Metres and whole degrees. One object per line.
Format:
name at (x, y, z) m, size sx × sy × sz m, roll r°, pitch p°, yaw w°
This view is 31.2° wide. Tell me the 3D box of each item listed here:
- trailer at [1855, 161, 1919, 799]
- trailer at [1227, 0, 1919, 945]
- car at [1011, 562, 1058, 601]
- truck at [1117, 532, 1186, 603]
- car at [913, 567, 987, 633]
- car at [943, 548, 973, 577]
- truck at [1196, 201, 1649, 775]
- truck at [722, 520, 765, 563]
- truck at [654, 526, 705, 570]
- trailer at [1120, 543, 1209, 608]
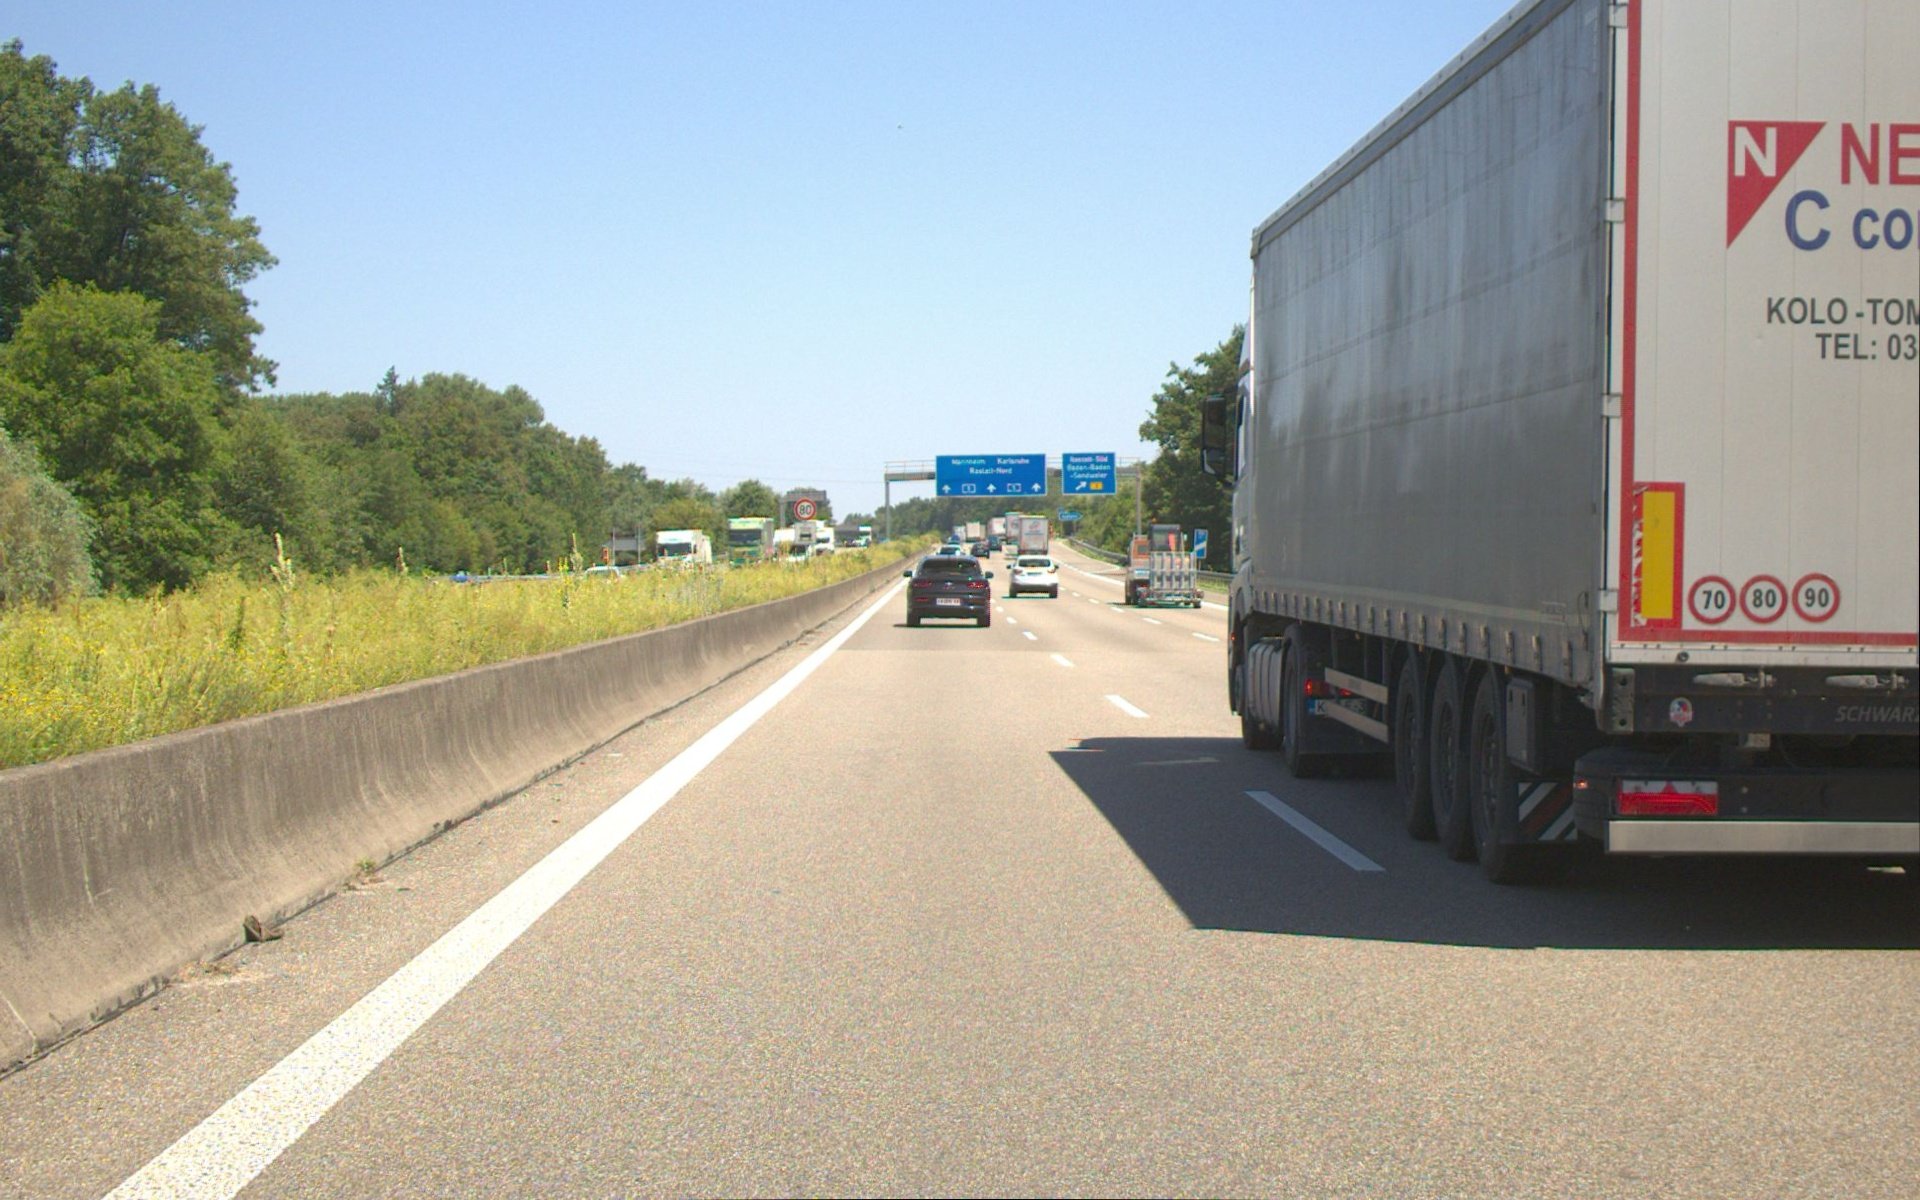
trailer at (7.553, -0.771, 19.008) m, size 2.316 × 4.226 × 10.655 m, roll 0°, pitch 0°, yaw -1°
trailer at (3.603, -0.757, 20.412) m, size 2.707 × 4.054 × 14.746 m, roll 1°, pitch 0°, yaw -1°
car at (2.916, -0.745, 134.813) m, size 1.740 × 1.481 × 4.000 m, roll 0°, pitch 1°, yaw 0°
truck at (6.571, -1.129, 118.235) m, size 1.993 × 2.365 × 4.645 m, roll 0°, pitch 1°, yaw -1°
car at (-0.262, -0.007, 83.018) m, size 1.660 × 1.544 × 3.783 m, roll 1°, pitch 0°, yaw -2°
car at (-0.135, -2.644, 242.256) m, size 1.993 × 2.007 × 4.000 m, roll -1°, pitch 1°, yaw 0°
truck at (3.529, -0.814, 27.825) m, size 2.700 × 4.080 × 6.453 m, roll 1°, pitch 0°, yaw -1°
truck at (-15.150, -4.112, 240.937) m, size 2.606 × 2.998 × 6.972 m, roll 0°, pitch 1°, yaw 0°
truck at (-19.432, -3.627, 238.867) m, size 2.687 × 2.932 × 10.487 m, roll 0°, pitch 1°, yaw 0°
trailer at (6.677, -0.833, 112.873) m, size 2.420 × 2.007 × 6.034 m, roll 0°, pitch 1°, yaw -1°
